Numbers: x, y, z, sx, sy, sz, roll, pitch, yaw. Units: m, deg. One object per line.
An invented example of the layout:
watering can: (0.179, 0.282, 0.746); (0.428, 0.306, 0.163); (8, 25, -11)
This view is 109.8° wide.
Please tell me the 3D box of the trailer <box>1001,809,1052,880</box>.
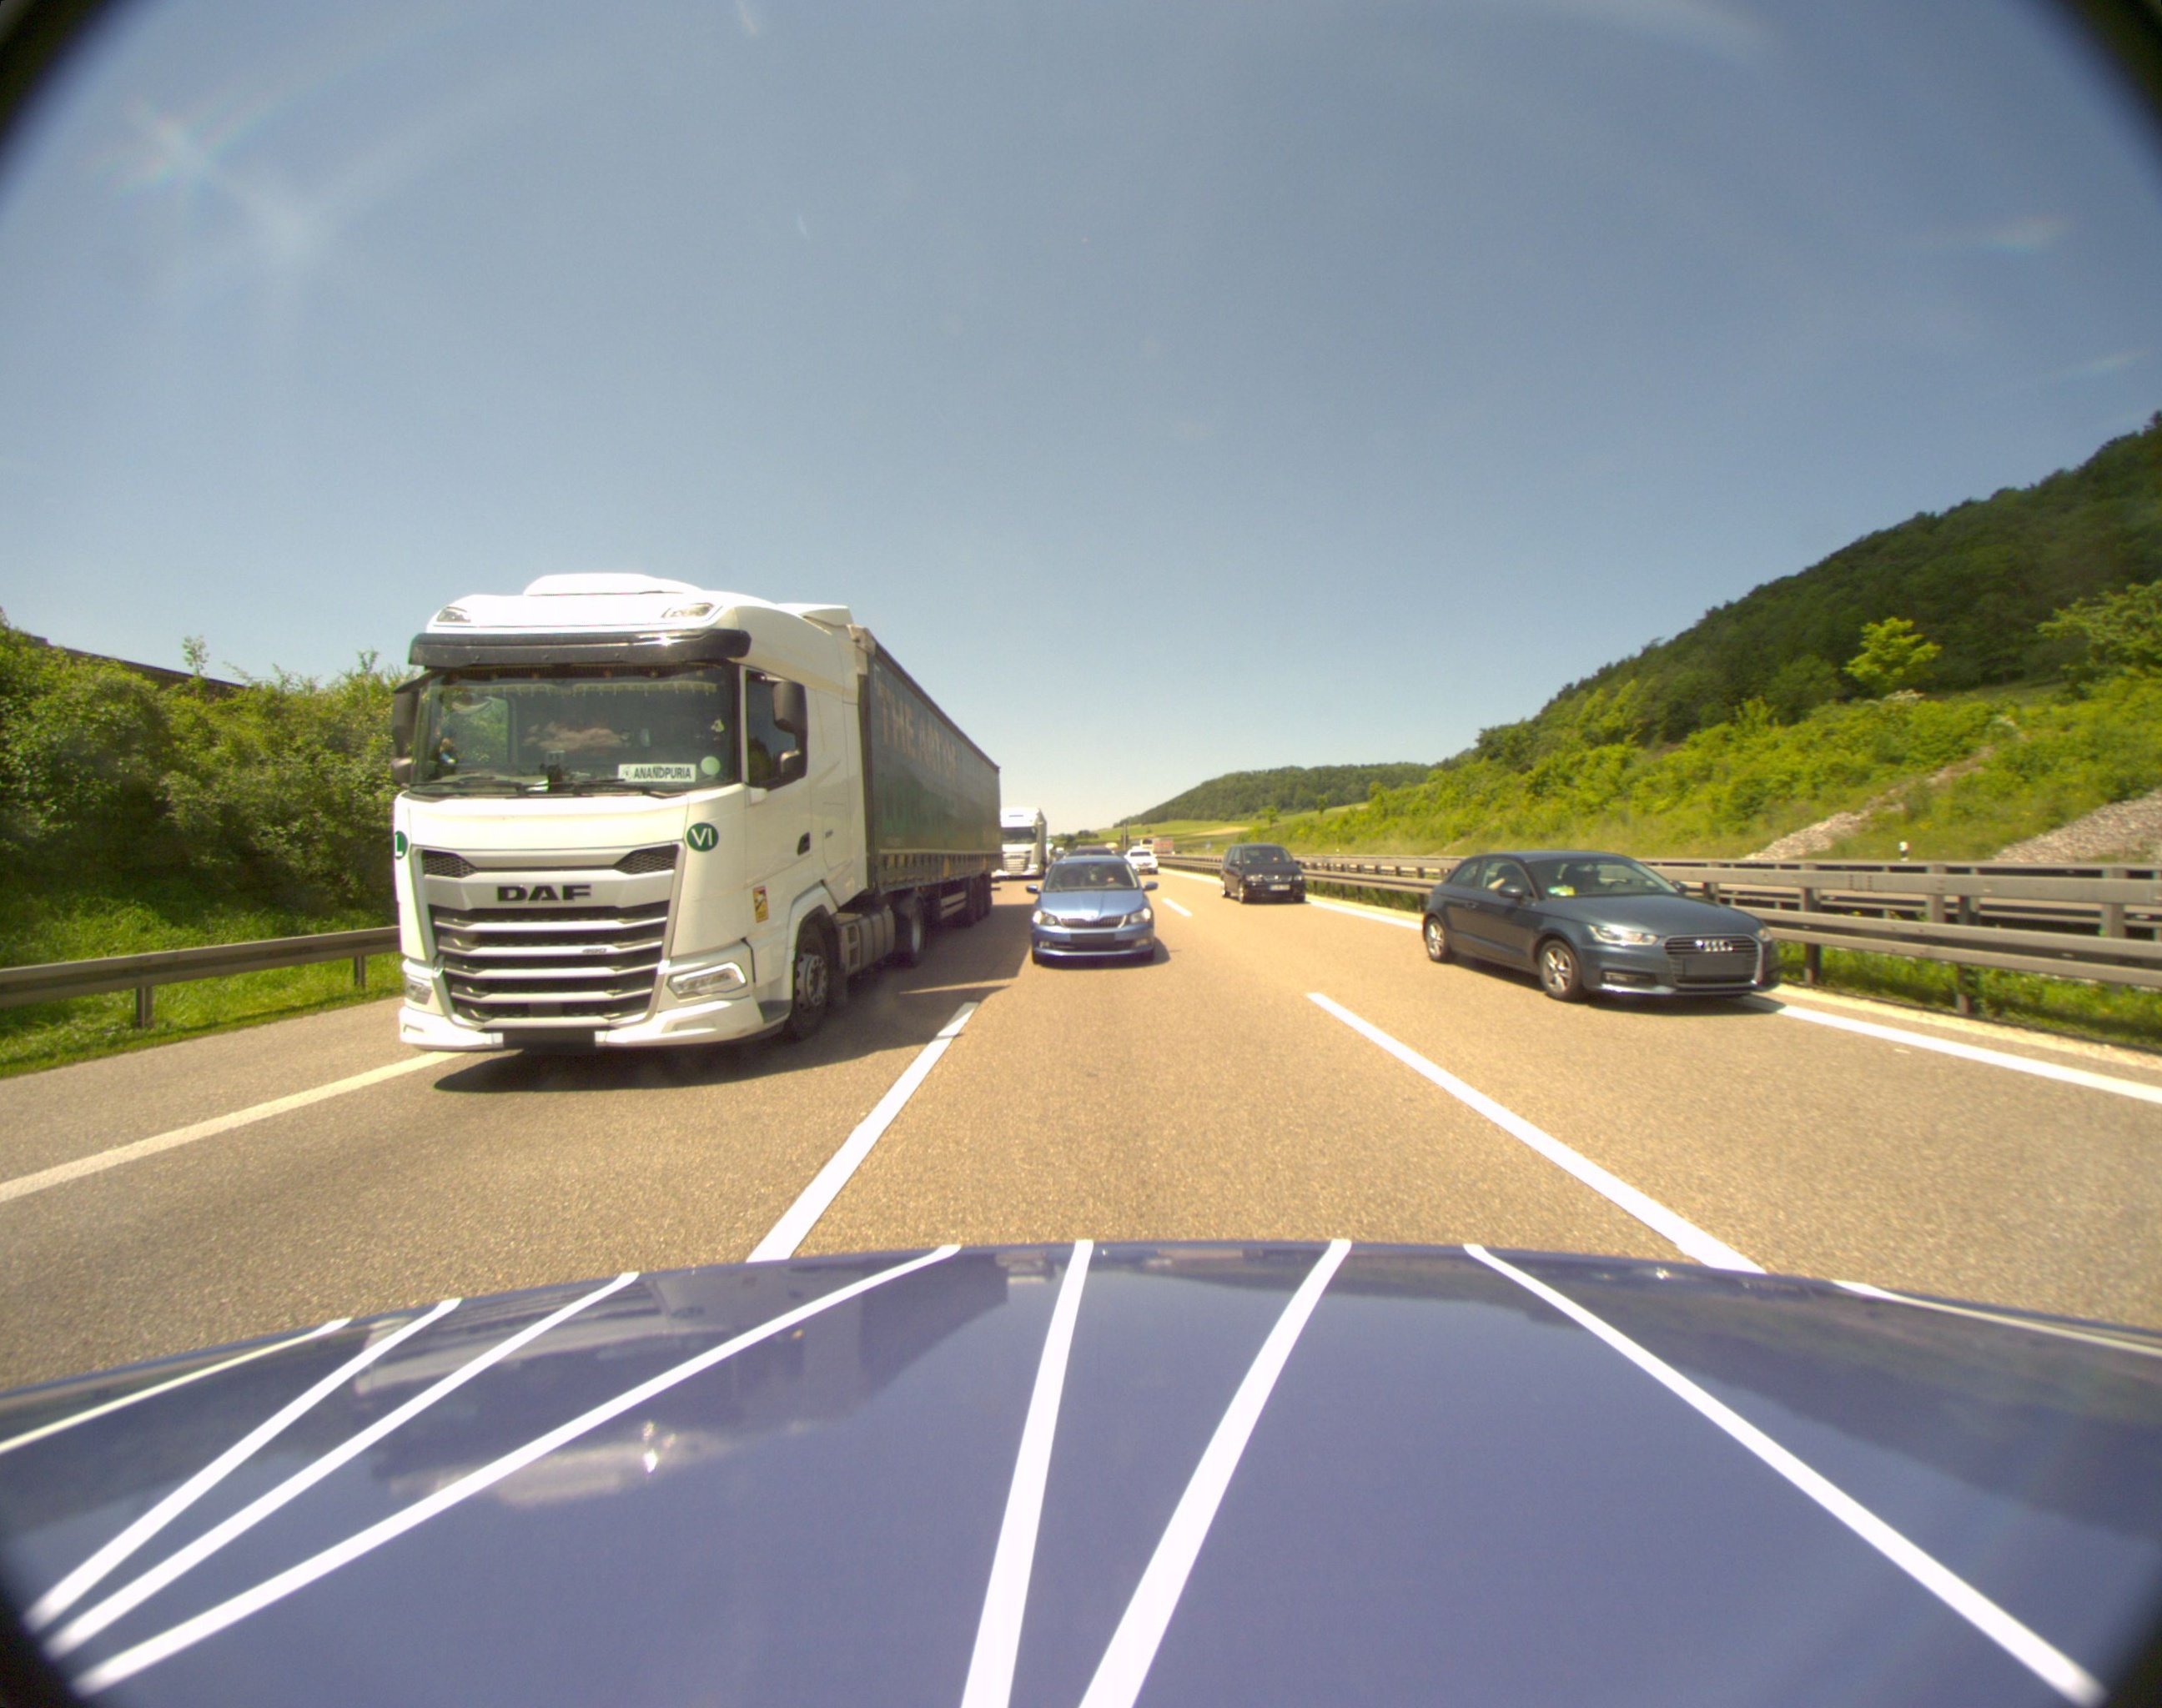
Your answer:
trailer: (-3.477, -0.671, 51.592); (2.544, 4.085, 13.624); (-2, 1, -1)

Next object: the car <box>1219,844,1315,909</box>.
car: (5.110, 0.553, 21.445); (1.805, 1.625, 4.446); (-1, 1, 3)

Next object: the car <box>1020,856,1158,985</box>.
car: (0.133, 0.825, 11.621); (1.660, 1.481, 4.653); (-1, 1, 1)

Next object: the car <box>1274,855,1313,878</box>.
car: (17.384, 1.013, 62.341); (1.998, 1.702, 3.999); (-2, 1, 1)

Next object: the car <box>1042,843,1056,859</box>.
car: (-4.541, -0.461, 108.936); (1.778, 2.178, 3.999); (-2, 1, 1)

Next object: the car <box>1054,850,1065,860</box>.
car: (-4.496, 0.153, 157.042); (1.998, 2.002, 3.999); (-2, 1, 1)

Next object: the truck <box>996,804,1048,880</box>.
truck: (-3.354, -0.700, 44.526); (2.531, 4.065, 6.078); (-2, 1, -1)

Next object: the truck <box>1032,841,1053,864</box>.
truck: (-4.162, -0.218, 83.397); (1.835, 2.267, 6.594); (-2, 1, 1)

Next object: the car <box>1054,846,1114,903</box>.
car: (0.183, 0.587, 24.776); (1.736, 1.674, 4.198); (-1, 1, 3)

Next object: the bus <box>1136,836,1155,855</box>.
bus: (12.973, -1.705, 154.026); (2.686, 3.640, 14.815); (-1, 1, 1)

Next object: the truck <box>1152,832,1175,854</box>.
truck: (16.614, -2.182, 153.327); (3.626, 4.079, 9.921); (-1, 1, 1)

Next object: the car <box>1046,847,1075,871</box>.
car: (-1.562, 0.358, 59.424); (1.998, 1.702, 3.999); (-2, 1, 1)

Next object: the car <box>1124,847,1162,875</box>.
car: (3.830, 0.407, 47.794); (1.999, 1.612, 3.999); (-2, 1, 0)

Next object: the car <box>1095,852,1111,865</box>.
car: (3.030, 0.629, 105.675); (1.998, 1.702, 4.000); (-2, 1, 4)

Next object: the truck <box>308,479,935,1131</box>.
truck: (-3.424, -0.313, 7.865); (2.484, 3.954, 6.380); (-1, 1, 0)

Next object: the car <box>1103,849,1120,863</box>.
car: (3.869, 0.233, 97.289); (1.998, 1.702, 4.000); (-2, 1, 4)

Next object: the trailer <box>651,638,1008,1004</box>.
trailer: (-3.392, -0.411, 15.133); (2.484, 3.954, 13.653); (-1, 1, 0)

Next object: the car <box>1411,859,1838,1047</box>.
car: (5.121, 0.791, 7.946); (1.692, 1.380, 4.000); (-1, 1, 2)

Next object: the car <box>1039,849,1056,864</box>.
car: (-4.136, 0.274, 93.867); (1.778, 1.655, 3.999); (-2, 1, 1)

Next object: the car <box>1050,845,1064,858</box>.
car: (-4.097, -0.426, 130.460); (1.998, 2.002, 3.999); (-2, 1, 1)
